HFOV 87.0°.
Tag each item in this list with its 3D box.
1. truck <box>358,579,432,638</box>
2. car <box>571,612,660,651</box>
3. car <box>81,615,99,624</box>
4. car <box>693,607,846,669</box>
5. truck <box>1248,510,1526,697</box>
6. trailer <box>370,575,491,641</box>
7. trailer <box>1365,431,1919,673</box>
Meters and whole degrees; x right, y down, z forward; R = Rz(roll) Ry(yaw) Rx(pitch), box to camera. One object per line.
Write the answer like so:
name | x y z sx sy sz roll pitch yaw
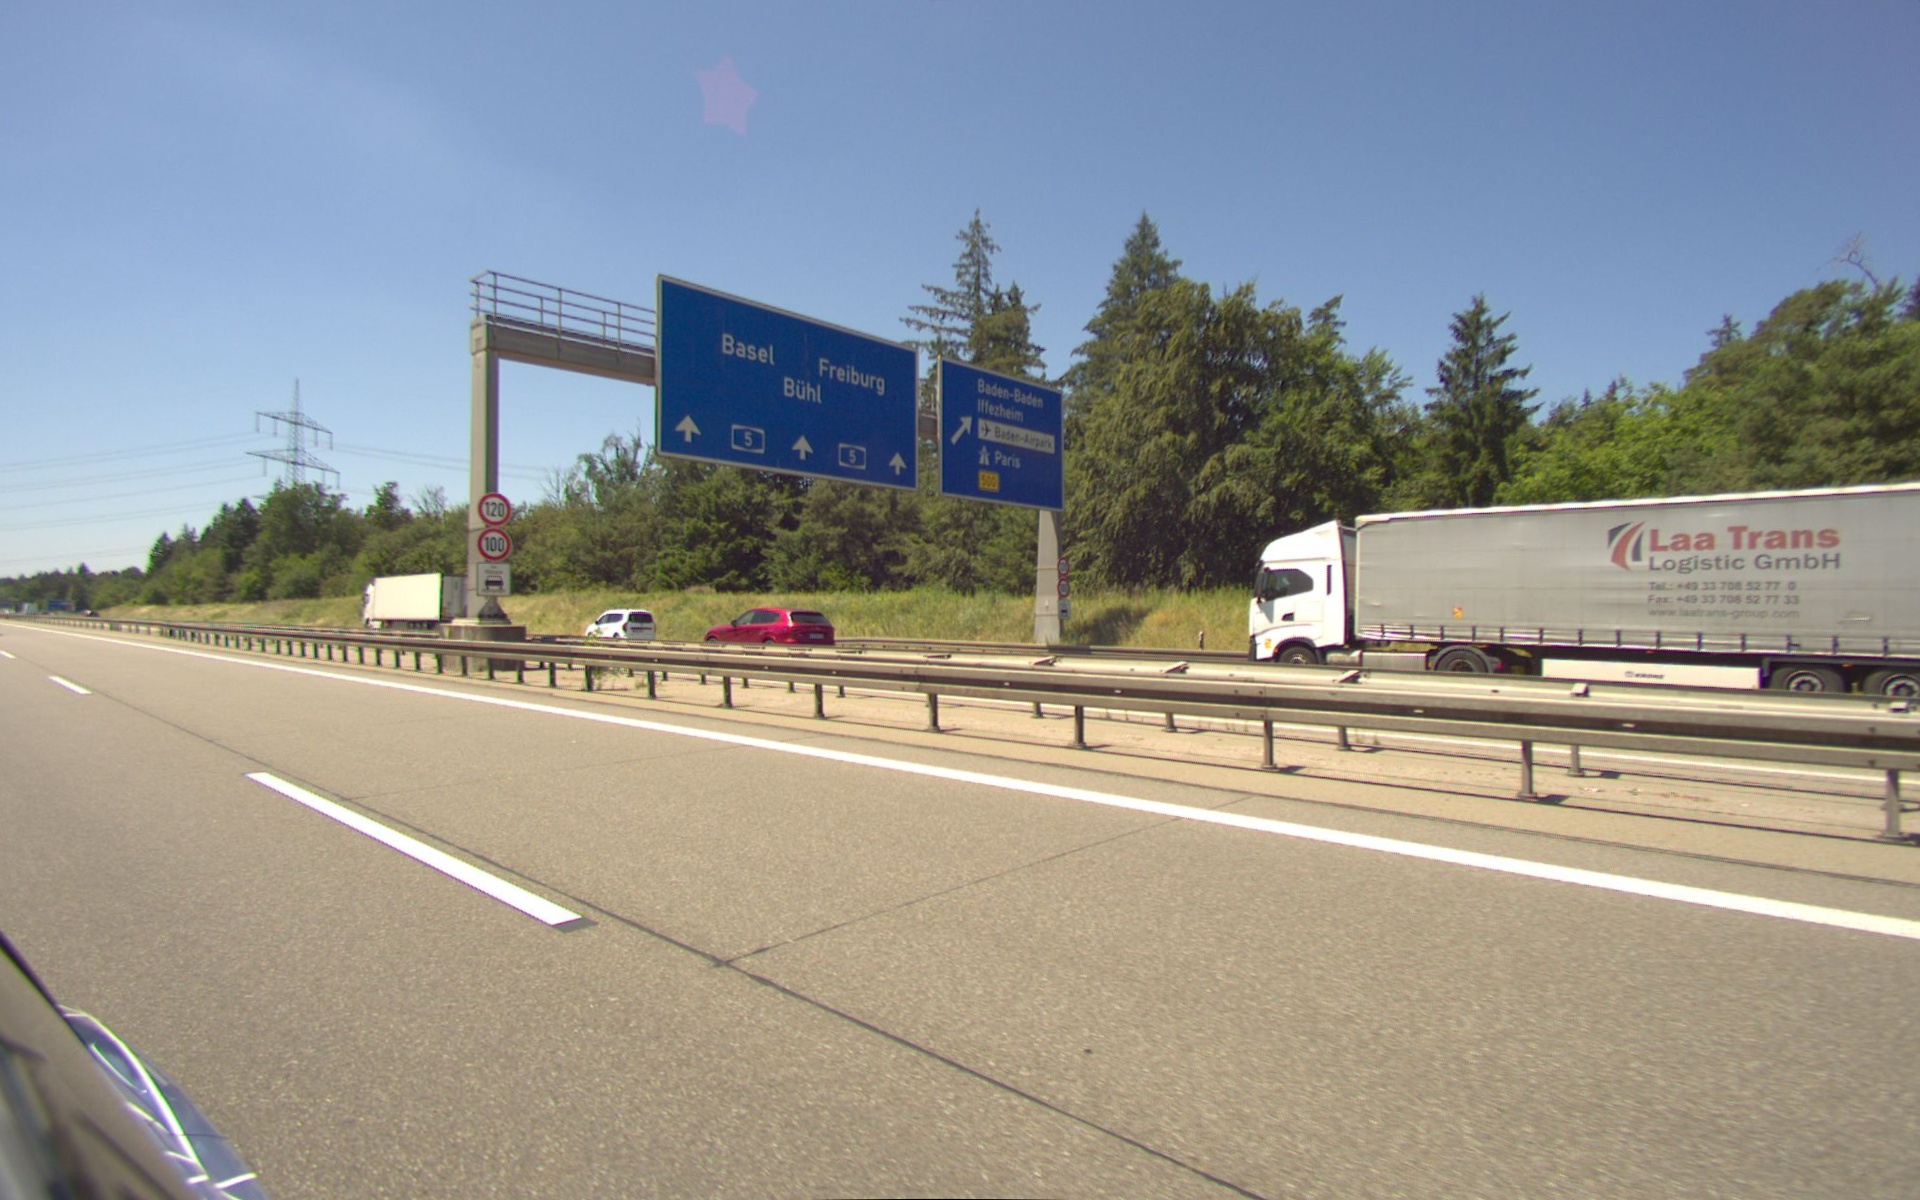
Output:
truck | -41.024 0.600 73.416 3.177 4.048 6.219 0 0 -45
car | -16.716 1.490 49.024 4.991 1.763 1.972 -1 0 43
car | -145.647 3.211 169.352 4.743 1.521 1.806 -1 -1 43
car | -5.610 1.034 29.352 4.922 1.622 1.826 -1 0 43
truck | 10.208 0.073 24.456 3.132 3.960 5.403 0 0 -45
trailer | -35.983 0.540 68.295 3.177 4.073 14.369 0 0 -45
trailer | 15.289 -0.781 19.291 3.132 3.960 13.972 0 0 -44
